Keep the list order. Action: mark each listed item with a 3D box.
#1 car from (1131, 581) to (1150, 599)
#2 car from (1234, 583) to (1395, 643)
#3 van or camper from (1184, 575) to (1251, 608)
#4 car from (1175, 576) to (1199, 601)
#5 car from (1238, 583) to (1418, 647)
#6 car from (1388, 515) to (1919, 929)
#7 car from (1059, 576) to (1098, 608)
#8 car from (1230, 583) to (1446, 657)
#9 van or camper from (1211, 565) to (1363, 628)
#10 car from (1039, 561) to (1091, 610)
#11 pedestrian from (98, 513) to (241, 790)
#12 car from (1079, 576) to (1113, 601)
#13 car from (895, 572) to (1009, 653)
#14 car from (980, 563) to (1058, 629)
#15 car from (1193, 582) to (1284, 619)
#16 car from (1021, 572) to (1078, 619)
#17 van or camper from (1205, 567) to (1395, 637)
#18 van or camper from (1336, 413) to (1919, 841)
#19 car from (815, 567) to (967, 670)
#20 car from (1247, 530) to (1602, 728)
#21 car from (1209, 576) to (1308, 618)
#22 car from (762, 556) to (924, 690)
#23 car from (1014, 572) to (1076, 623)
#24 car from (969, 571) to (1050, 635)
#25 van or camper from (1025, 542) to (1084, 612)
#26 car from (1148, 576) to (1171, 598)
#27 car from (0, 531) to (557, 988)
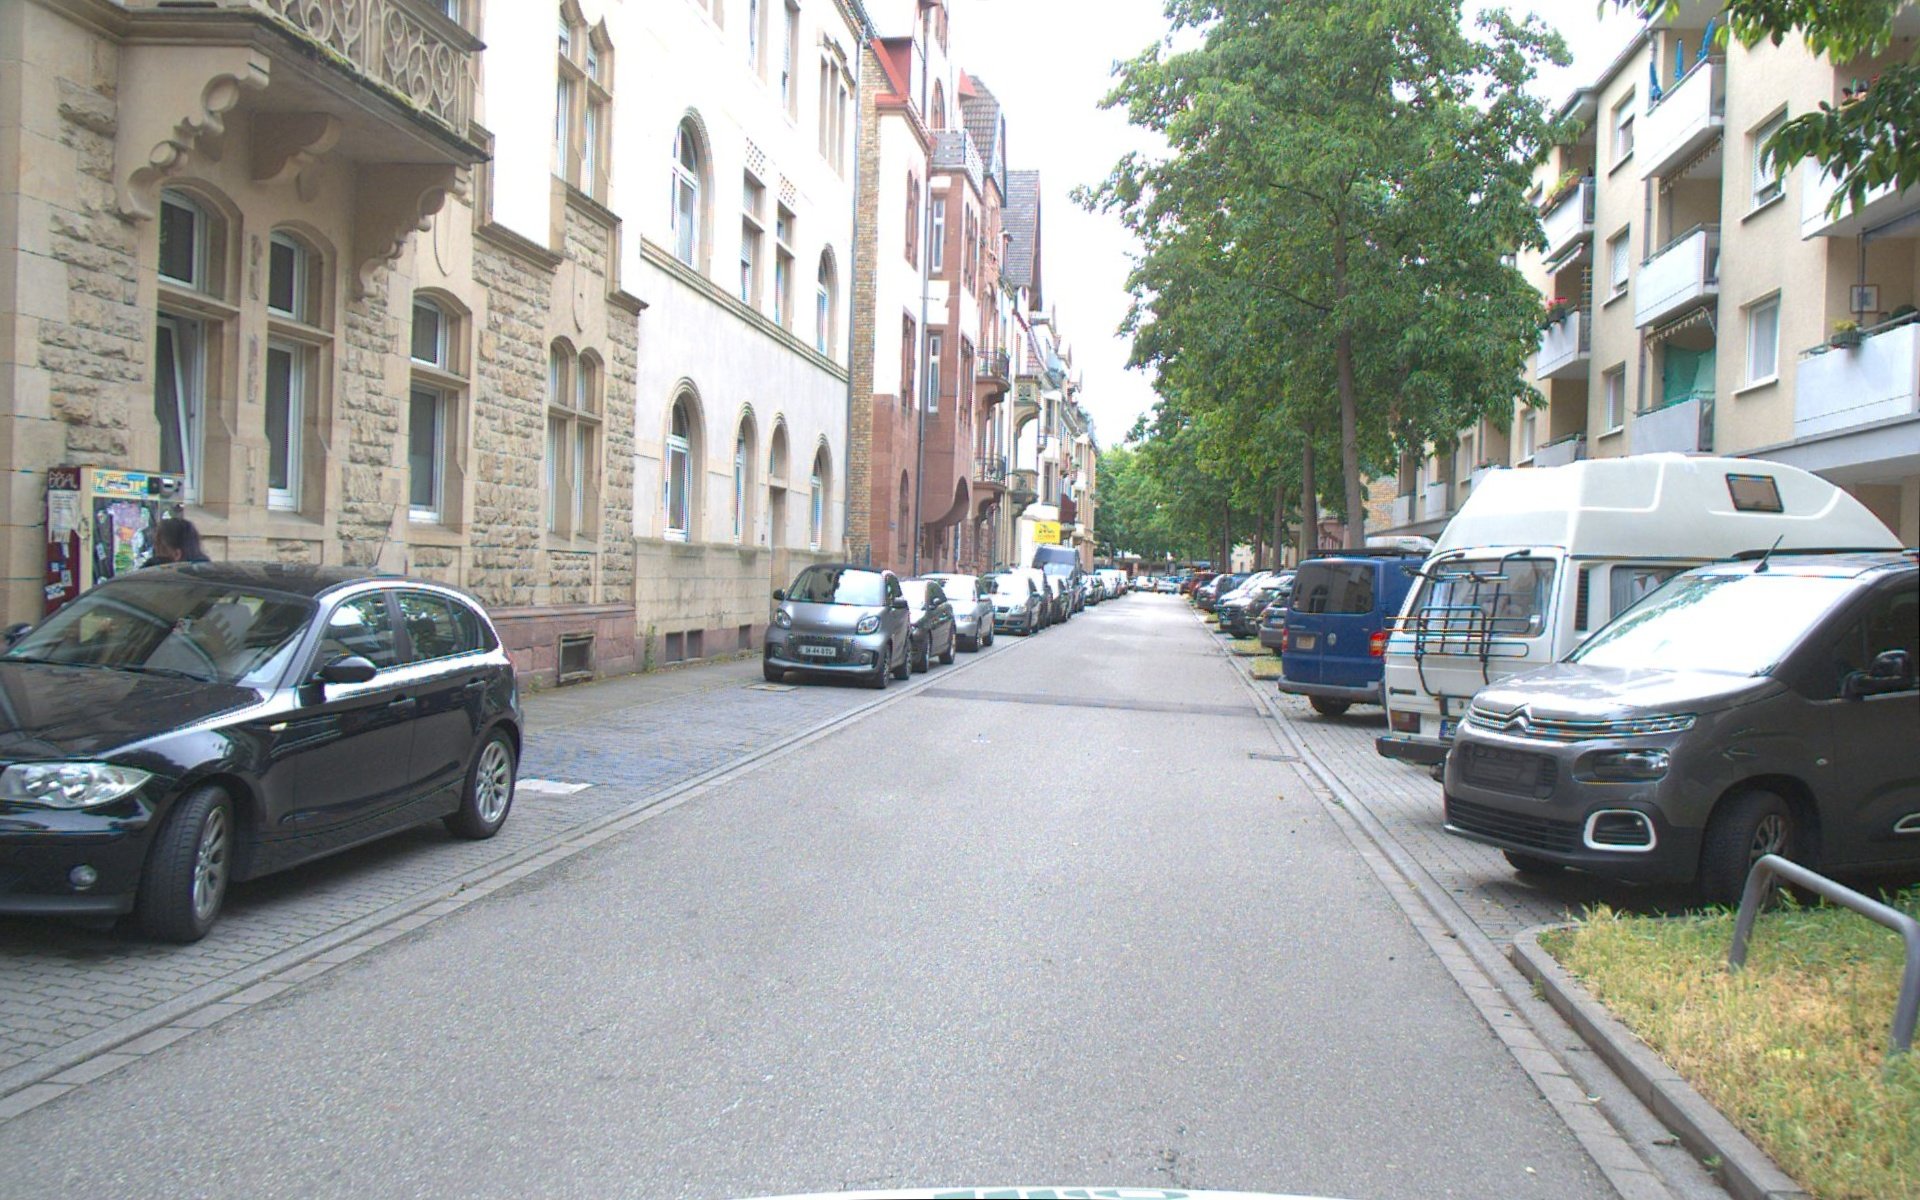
[{"bbox_3d":[18.361,-1.022,167.843,1.782,1.673,3.756,3,0,7],"label":"car"},{"bbox_3d":[9.389,0.347,43.859,3.795,1.528,1.900,0,0,-22],"label":"car"},{"bbox_3d":[17.583,-0.572,113.152,4.087,2.122,1.941,1,1,-21],"label":"van or camper"},{"bbox_3d":[20.584,-1.038,149.953,1.952,2.048,4.003,5,1,7],"label":"car"},{"bbox_3d":[9.145,0.368,41.199,3.977,1.509,1.938,1,0,-19],"label":"car"},{"bbox_3d":[4.750,0.583,9.097,4.264,1.886,1.902,1,1,-18],"label":"car"},{"bbox_3d":[6.049,-0.400,84.327,1.752,1.506,4.025,3,1,7],"label":"car"},{"bbox_3d":[8.100,0.396,35.493,4.151,1.527,1.964,0,0,-20],"label":"car"},{"bbox_3d":[10.941,-0.087,55.430,4.656,2.029,1.990,0,-1,-18],"label":"van or camper"},{"bbox_3d":[4.701,-0.657,73.584,1.951,2.048,4.895,2,1,7],"label":"car"},{"bbox_3d":[-4.584,0.284,9.610,0.504,1.545,0.547,2,1,7],"label":"pedestrian"},{"bbox_3d":[8.818,-0.769,107.103,1.951,1.500,4.003,2,1,7],"label":"car"},{"bbox_3d":[-0.089,0.198,33.221,1.690,1.410,4.140,4,1,7],"label":"car"},{"bbox_3d":[1.725,-0.152,47.152,1.748,1.675,4.365,3,1,7],"label":"car"},{"bbox_3d":[13.439,0.025,79.780,3.957,1.586,1.871,2,1,-24],"label":"car"},{"bbox_3d":[3.194,-0.133,58.257,1.632,1.498,4.003,3,0,7],"label":"car"},{"bbox_3d":[9.624,0.048,46.802,4.933,1.902,2.114,0,0,-21],"label":"van or camper"},{"bbox_3d":[5.177,0.186,12.037,4.524,2.641,1.896,1,1,-26],"label":"van or camper"},{"bbox_3d":[-1.007,0.285,26.297,1.690,1.410,3.932,3,0,7],"label":"car"},{"bbox_3d":[5.898,0.321,20.813,4.350,2.234,2.041,1,1,-36],"label":"car"},{"bbox_3d":[13.865,-0.150,76.869,4.114,1.902,1.986,0,0,-23],"label":"car"},{"bbox_3d":[-1.528,0.252,22.528,1.612,1.597,2.959,3,2,6],"label":"car"},{"bbox_3d":[2.778,-0.098,53.308,1.600,1.498,4.003,3,1,7],"label":"car"},{"bbox_3d":[1.305,0.043,42.085,1.627,1.445,3.932,3,1,7],"label":"car"},{"bbox_3d":[3.942,-0.946,67.929,1.965,2.697,5.320,2,1,7],"label":"van or camper"},{"bbox_3d":[18.601,-1.194,154.431,1.952,1.825,4.003,3,0,6],"label":"car"},{"bbox_3d":[-3.505,0.498,7.756,1.673,1.520,4.003,3,1,8],"label":"car"}]
